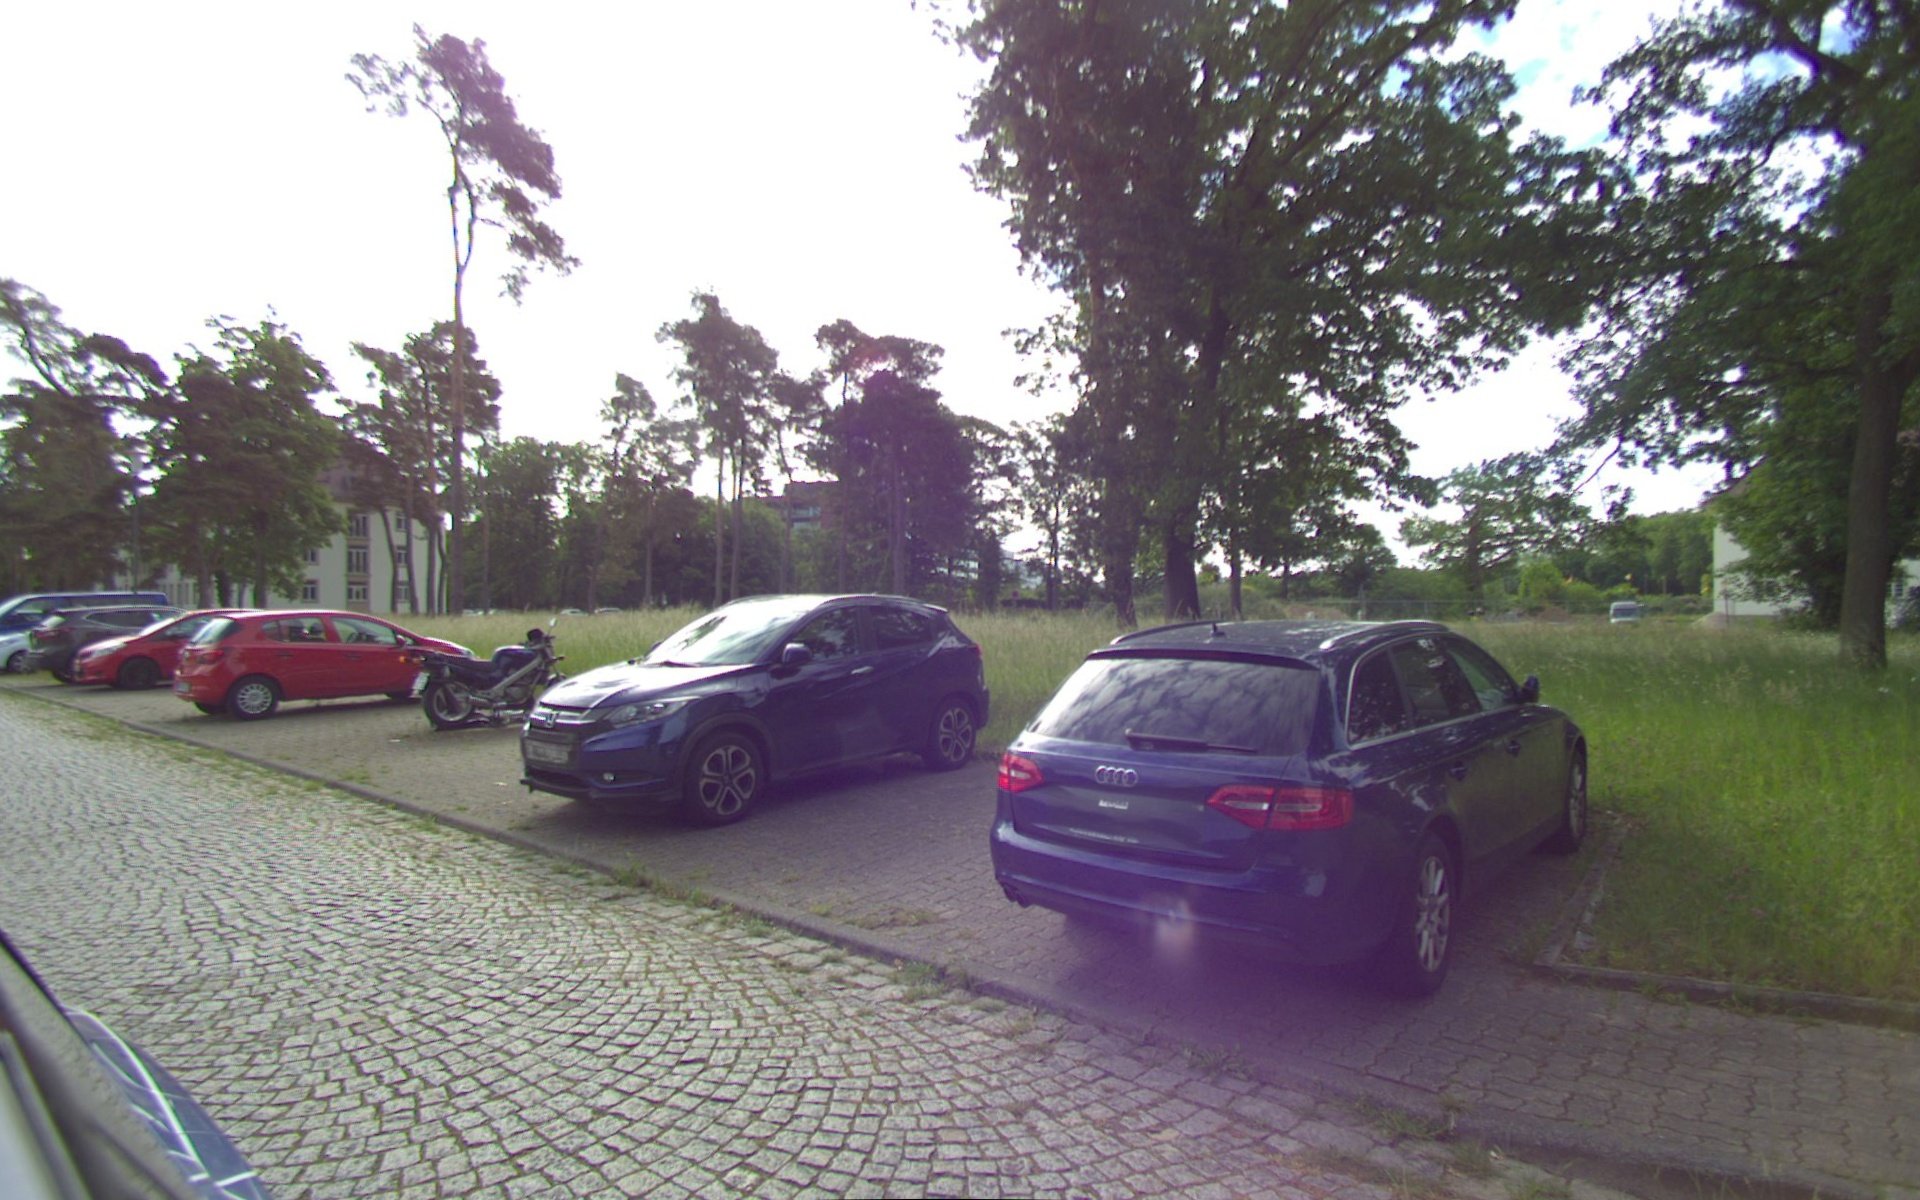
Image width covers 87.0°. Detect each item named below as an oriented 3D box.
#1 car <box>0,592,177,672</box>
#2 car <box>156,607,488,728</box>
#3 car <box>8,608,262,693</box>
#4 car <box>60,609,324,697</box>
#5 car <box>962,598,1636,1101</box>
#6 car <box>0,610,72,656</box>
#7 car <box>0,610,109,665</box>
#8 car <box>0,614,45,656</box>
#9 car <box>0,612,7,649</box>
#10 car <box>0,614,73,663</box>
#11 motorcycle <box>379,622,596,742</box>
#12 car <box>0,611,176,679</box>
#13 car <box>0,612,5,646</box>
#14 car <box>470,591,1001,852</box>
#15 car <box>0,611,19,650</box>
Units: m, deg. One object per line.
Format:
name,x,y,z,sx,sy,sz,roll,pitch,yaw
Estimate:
car,-24.329,0.811,27.203,2.158,1.879,4.776,0,2,37
car,-9.321,0.890,15.044,1.670,1.490,3.846,-1,0,38
car,-17.412,1.001,21.512,1.818,1.616,3.870,-1,-1,36
car,-15.083,0.966,20.043,1.705,1.532,3.902,-2,-1,39
car,2.104,0.759,5.245,1.682,1.491,4.383,-1,0,42
car,-32.846,1.168,34.489,1.601,1.445,3.535,0,2,32
car,-28.547,1.134,30.896,1.682,1.465,3.562,0,2,32
car,-35.136,1.298,35.979,1.633,1.427,3.535,0,2,32
car,-40.730,1.325,40.490,1.624,1.469,3.530,0,2,36
car,-30.789,1.246,32.172,1.613,1.431,3.562,0,1,32
motorcycle,-5.752,0.938,12.470,0.743,1.297,2.332,-1,-1,39
car,-22.405,1.084,25.460,1.740,1.403,3.884,0,3,37
car,-42.656,1.319,42.465,1.621,1.442,3.421,0,2,29
car,-1.571,0.731,8.334,1.788,1.585,4.099,0,0,38
car,-38.637,1.247,38.704,1.597,1.498,3.536,0,2,31
